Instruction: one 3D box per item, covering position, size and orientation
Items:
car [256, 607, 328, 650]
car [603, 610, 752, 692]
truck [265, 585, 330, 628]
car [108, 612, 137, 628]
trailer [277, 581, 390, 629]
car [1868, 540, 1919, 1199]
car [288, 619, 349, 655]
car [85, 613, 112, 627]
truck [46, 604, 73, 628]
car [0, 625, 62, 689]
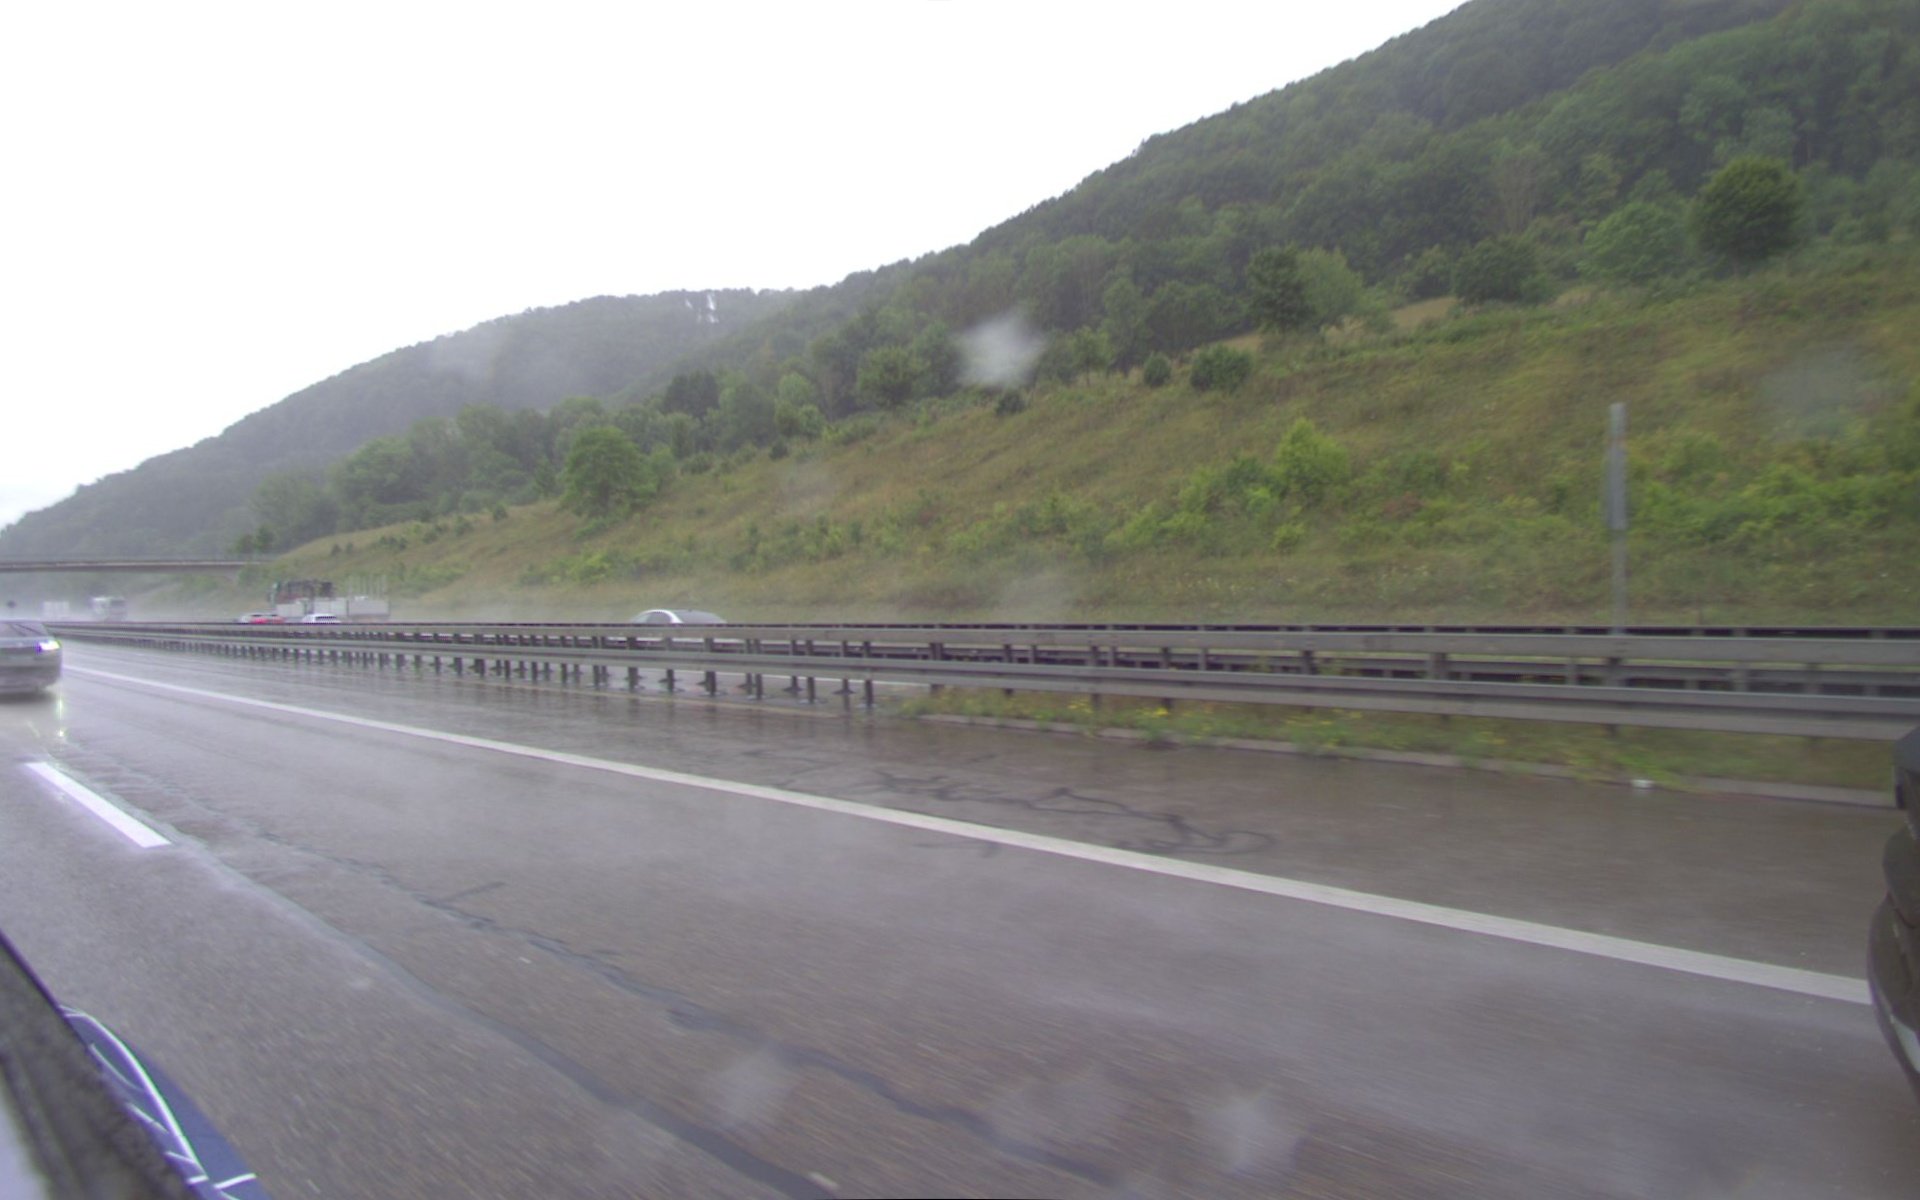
[{"bbox_3d":[-32.962,1.385,49.920,3.998,2.029,1.973,-1,-1,41],"label":"car"},{"bbox_3d":[-7.573,1.298,26.974,3.998,2.029,1.973,-1,-1,41],"label":"car"},{"bbox_3d":[-49.402,0.518,75.427,5.516,3.021,2.778,-2,-1,42],"label":"truck"},{"bbox_3d":[-112.823,2.716,136.288,4.704,2.029,2.362,-1,0,42],"label":"car"},{"bbox_3d":[-43.533,0.450,70.003,14.899,3.076,2.783,-2,-1,43],"label":"trailer"},{"bbox_3d":[4.382,0.602,1.275,4.783,1.527,2.380,-2,-1,42],"label":"car"},{"bbox_3d":[-37.427,2.135,59.017,3.998,2.029,1.973,-1,-1,41],"label":"car"},{"bbox_3d":[-125.164,2.898,147.072,4.704,2.029,2.362,-1,0,42],"label":"car"},{"bbox_3d":[-169.829,2.978,190.878,5.734,4.461,3.250,-1,0,42],"label":"truck"},{"bbox_3d":[-27.423,1.574,28.973,4.907,1.696,1.972,-1,-2,42],"label":"car"}]
